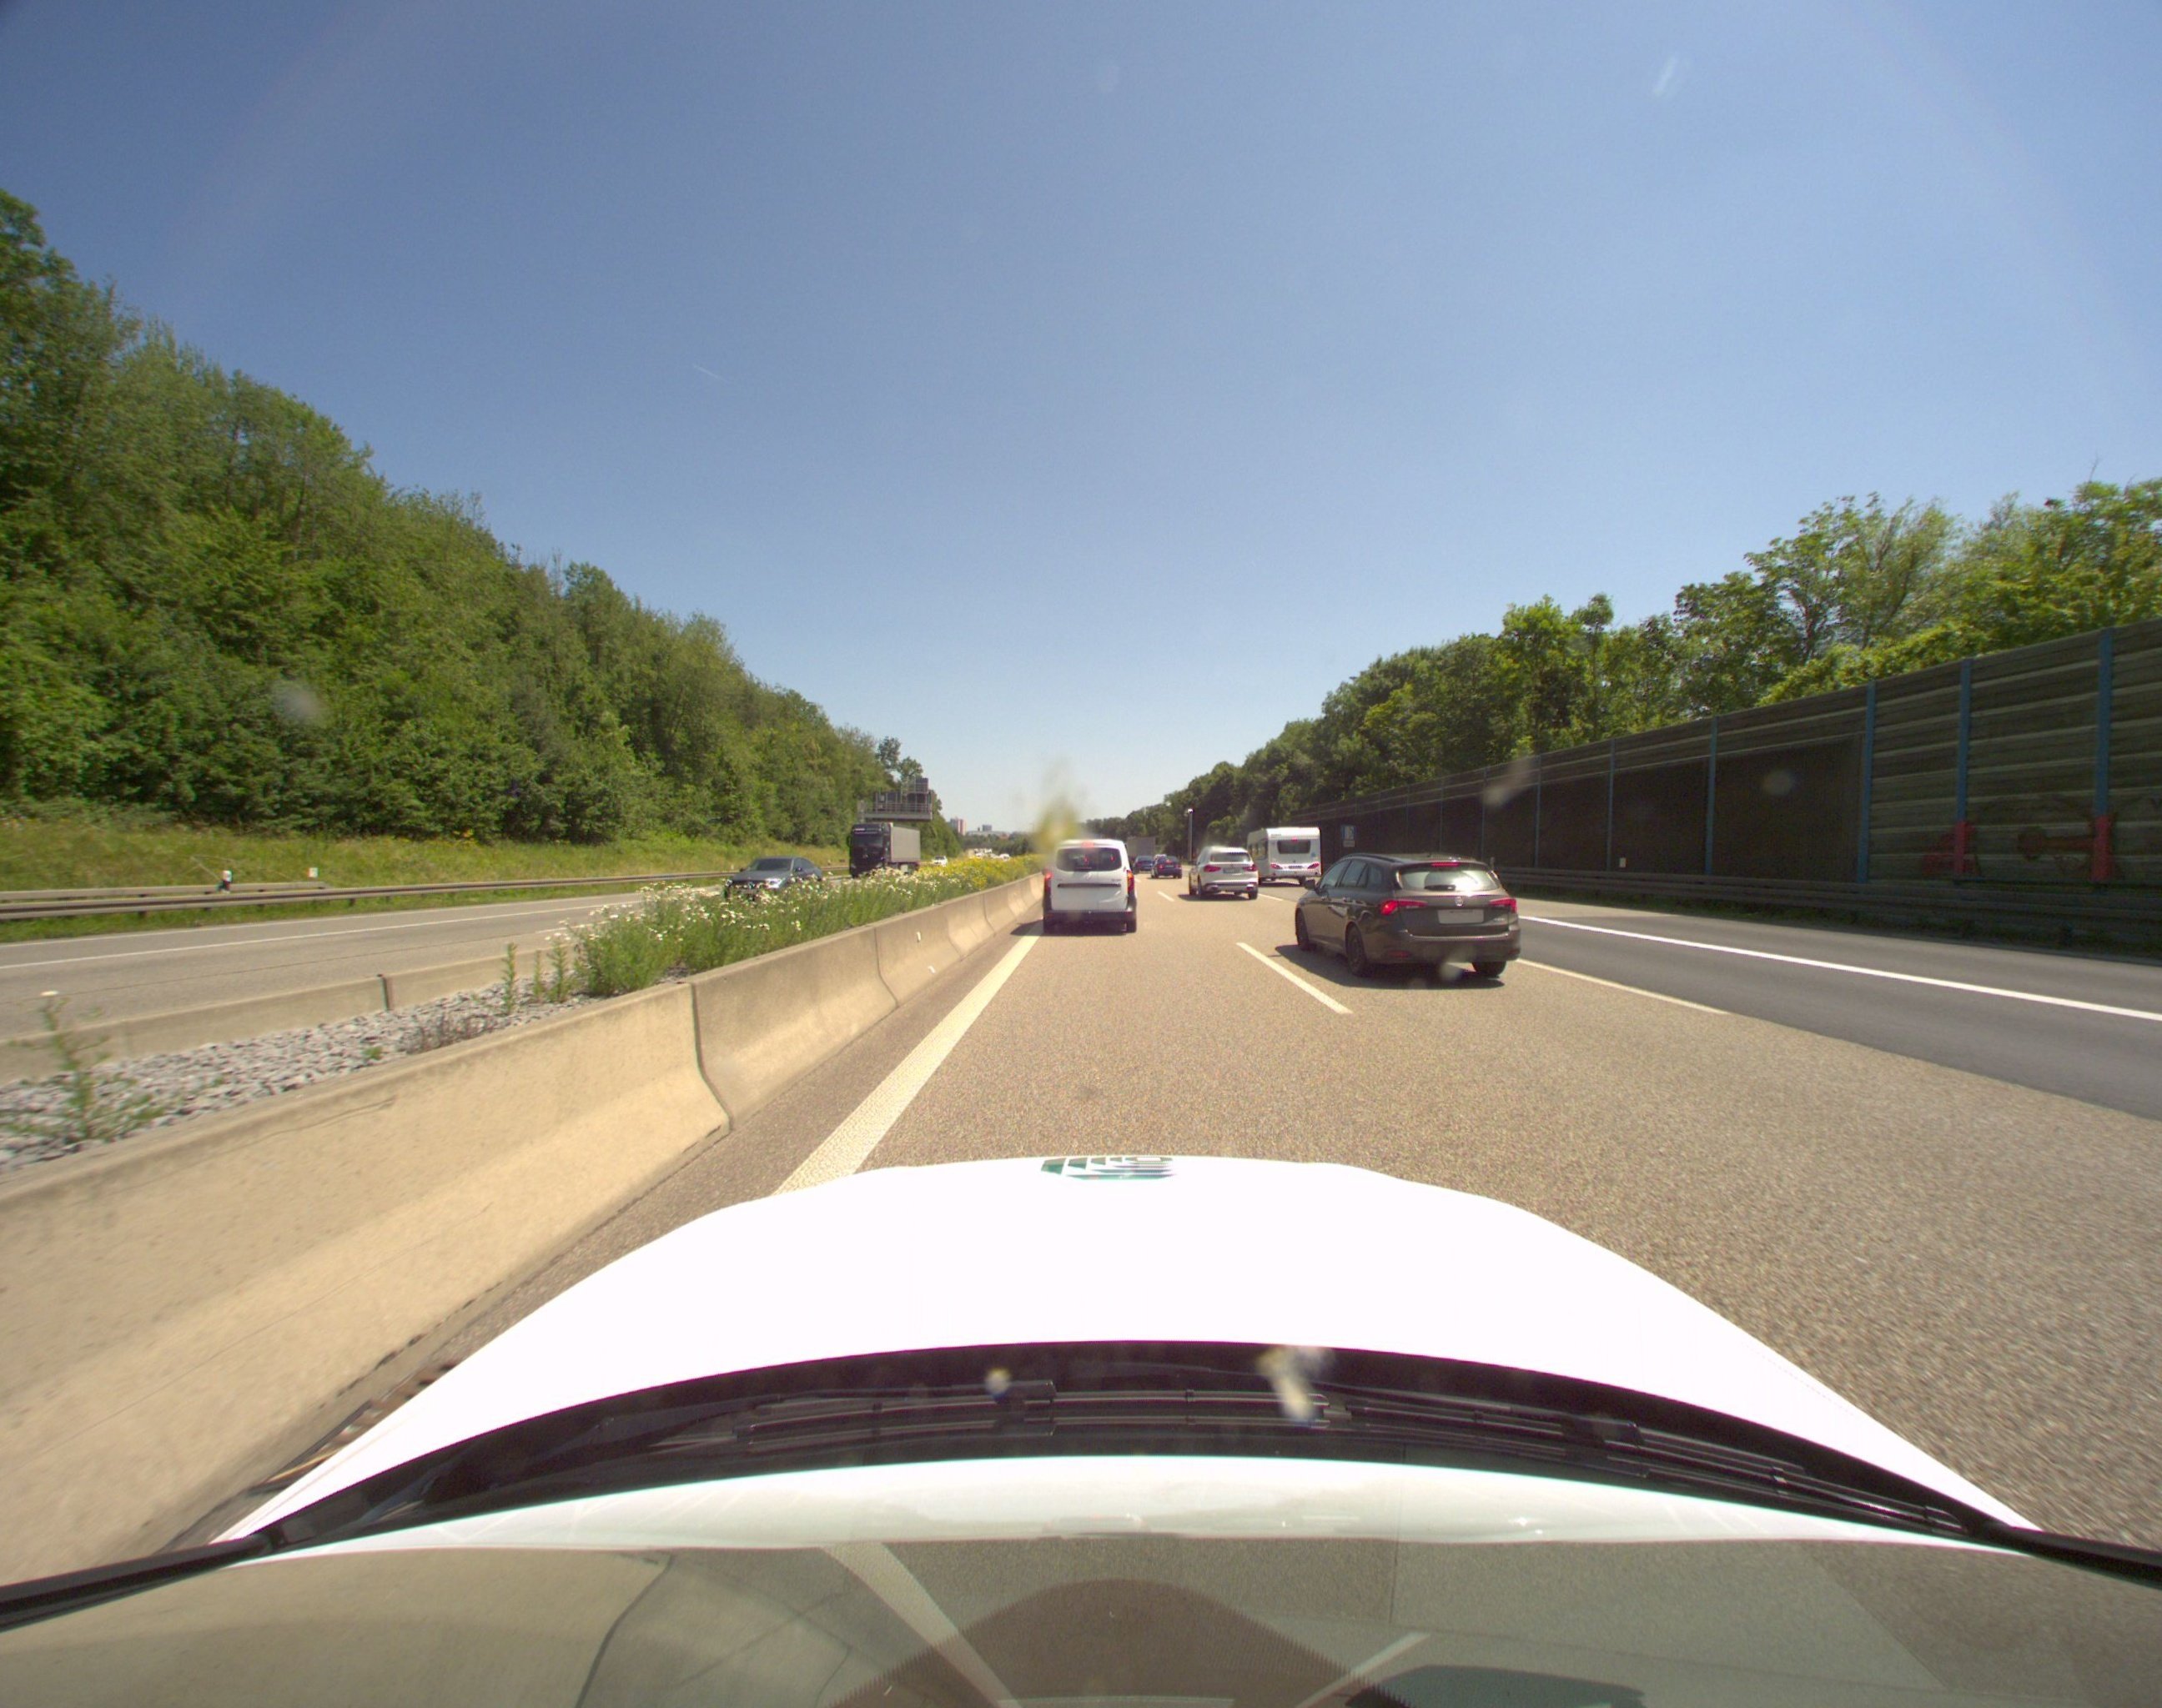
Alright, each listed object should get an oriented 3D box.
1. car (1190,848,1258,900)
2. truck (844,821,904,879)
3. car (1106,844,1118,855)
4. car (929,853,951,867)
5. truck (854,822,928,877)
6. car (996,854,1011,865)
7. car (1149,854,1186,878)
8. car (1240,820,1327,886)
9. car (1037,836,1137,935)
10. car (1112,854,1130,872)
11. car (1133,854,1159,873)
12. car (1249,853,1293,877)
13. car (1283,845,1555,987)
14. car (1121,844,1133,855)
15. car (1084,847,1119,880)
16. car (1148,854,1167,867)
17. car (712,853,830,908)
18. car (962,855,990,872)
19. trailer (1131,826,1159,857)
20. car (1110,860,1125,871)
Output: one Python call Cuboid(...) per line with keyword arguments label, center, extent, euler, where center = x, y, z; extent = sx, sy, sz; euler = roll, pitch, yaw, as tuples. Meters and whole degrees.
Cuboid(label="car", center=(4.723, 0.609, 27.301), extent=(1.862, 1.608, 3.883), euler=(0, 0, 4))
Cuboid(label="truck", center=(-14.848, -0.297, 58.824), extent=(2.821, 3.939, 6.004), euler=(-1, 0, -1))
Cuboid(label="car", center=(6.067, -0.923, 160.884), extent=(1.989, 2.013, 3.995), euler=(-1, 0, -4))
Cuboid(label="car", center=(-18.596, 0.770, 107.264), extent=(1.987, 1.692, 4.767), euler=(-1, 0, 1))
Cuboid(label="truck", center=(-14.953, -0.338, 65.467), extent=(2.820, 3.939, 13.739), euler=(-1, 0, -1))
Cuboid(label="car", center=(-11.981, 0.851, 125.916), extent=(1.878, 1.755, 4.277), euler=(-1, 0, 1))
Cuboid(label="car", center=(5.296, 0.713, 50.140), extent=(1.818, 1.424, 3.999), euler=(-1, 0, 0))
Cuboid(label="car", center=(9.258, -0.035, 37.918), extent=(2.471, 2.766, 6.219), euler=(-1, 0, 0))
Cuboid(label="car", center=(0.247, 0.572, 16.956), extent=(1.794, 1.808, 4.005), euler=(-1, 0, 4))
Cuboid(label="car", center=(4.494, 0.969, 91.850), extent=(1.818, 1.989, 3.999), euler=(-1, 0, 0))
Cuboid(label="car", center=(5.248, 0.750, 66.225), extent=(1.818, 1.424, 3.999), euler=(-1, 0, 0))
Cuboid(label="car", center=(11.702, 0.647, 50.400), extent=(1.818, 1.424, 4.000), euler=(-1, 0, 1))
Cuboid(label="car", center=(4.185, 0.650, 10.953), extent=(1.832, 1.513, 4.401), euler=(0, 0, 0))
Cuboid(label="car", center=(8.084, -0.764, 143.658), extent=(1.987, 2.013, 4.000), euler=(-1, 0, 0))
Cuboid(label="car", center=(1.175, 0.568, 49.164), extent=(1.987, 1.860, 3.999), euler=(-1, 0, 0))
Cuboid(label="car", center=(8.749, 0.706, 93.042), extent=(1.818, 1.424, 3.999), euler=(-1, 0, 0))
Cuboid(label="car", center=(-9.939, 0.805, 26.512), extent=(1.986, 1.627, 4.476), euler=(0, 0, 2))
Cuboid(label="car", center=(-9.814, 0.852, 76.630), extent=(1.986, 1.498, 4.248), euler=(-1, 0, 1))
Cuboid(label="trailer", center=(8.698, -1.672, 112.098), extent=(3.072, 3.985, 10.321), euler=(-1, 0, 0))
Cuboid(label="car", center=(4.924, 1.488, 109.559), extent=(1.818, 1.447, 3.999), euler=(-1, 0, 0))
